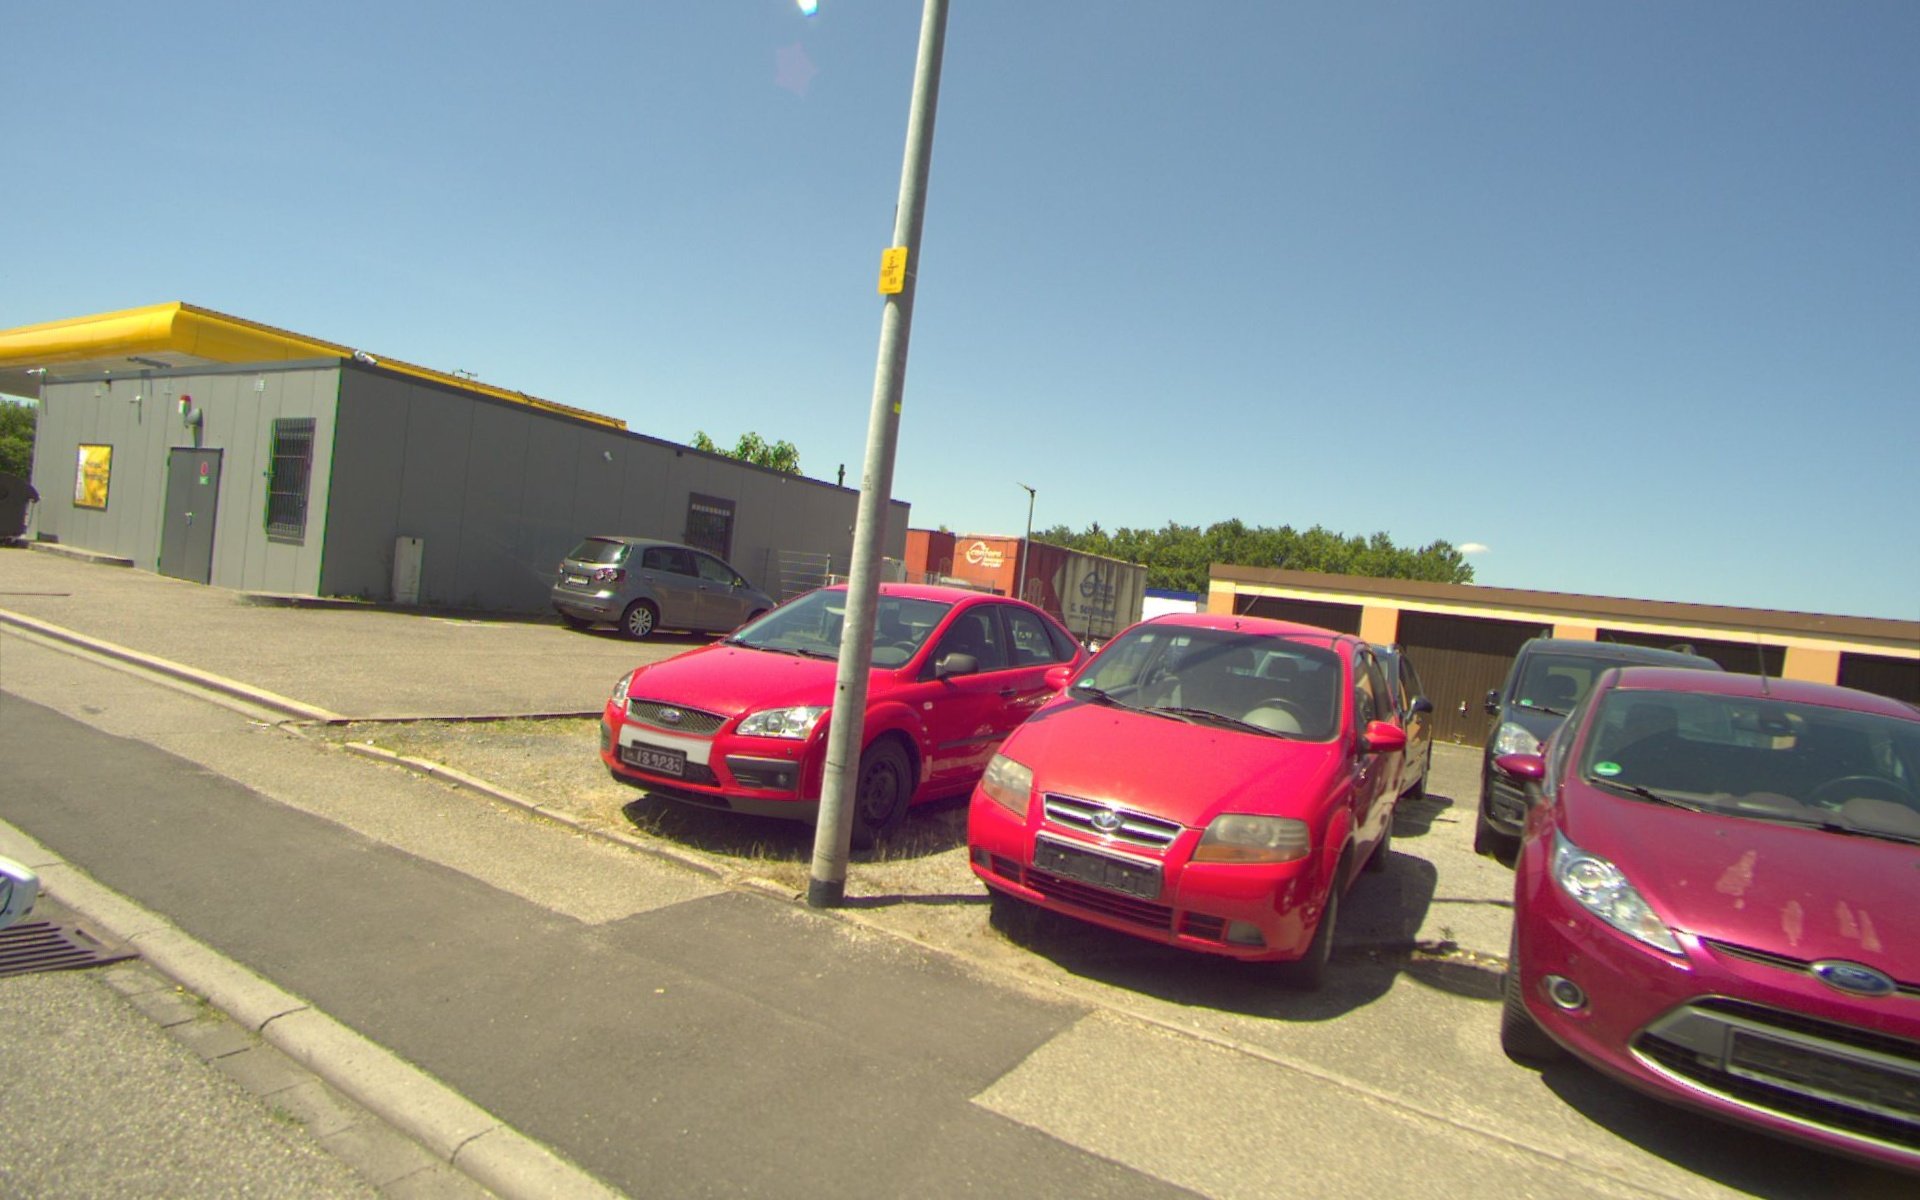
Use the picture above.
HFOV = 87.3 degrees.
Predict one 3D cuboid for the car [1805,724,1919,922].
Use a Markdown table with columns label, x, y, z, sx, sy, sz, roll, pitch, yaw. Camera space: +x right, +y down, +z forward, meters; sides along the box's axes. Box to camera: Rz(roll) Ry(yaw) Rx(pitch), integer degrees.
| label | x | y | z | sx | sy | sz | roll | pitch | yaw |
| --- | --- | --- | --- | --- | --- | --- | --- | --- | --- |
| car | 7.714 | 1.701 | 7.118 | 1.613 | 1.390 | 3.909 | 7 | -3 | 26 |

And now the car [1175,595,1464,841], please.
| label | x | y | z | sx | sy | sz | roll | pitch | yaw |
| --- | --- | --- | --- | --- | --- | --- | --- | --- | --- |
| car | 3.665 | 1.131 | 9.722 | 1.753 | 1.685 | 4.051 | 7 | -3 | 31 |

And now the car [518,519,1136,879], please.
| label | x | y | z | sx | sy | sz | roll | pitch | yaw |
| --- | --- | --- | --- | --- | --- | --- | --- | --- | --- |
| car | -0.518 | 0.536 | 6.954 | 1.925 | 1.554 | 4.229 | 7 | 1 | 30 |

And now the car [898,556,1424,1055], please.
| label | x | y | z | sx | sy | sz | roll | pitch | yaw |
| --- | --- | --- | --- | --- | --- | --- | --- | --- | --- |
| car | 1.413 | 0.785 | 5.481 | 1.679 | 1.586 | 3.690 | 7 | 1 | 28 |

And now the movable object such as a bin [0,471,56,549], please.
| label | x | y | z | sx | sy | sz | roll | pitch | yaw |
| --- | --- | --- | --- | --- | --- | --- | --- | --- | --- |
| movable object such as a bin | -19.244 | -1.852 | 20.044 | 1.443 | 1.456 | 1.435 | 7 | 2 | 32 |

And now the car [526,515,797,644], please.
| label | x | y | z | sx | sy | sz | roll | pitch | yaw |
| --- | --- | --- | --- | --- | --- | --- | --- | --- | --- |
| car | -4.934 | -0.278 | 17.123 | 1.916 | 1.677 | 3.990 | 6 | -1 | 34 |

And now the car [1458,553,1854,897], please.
| label | x | y | z | sx | sy | sz | roll | pitch | yaw |
| --- | --- | --- | --- | --- | --- | --- | --- | --- | --- |
| car | 5.408 | 0.984 | 8.404 | 1.938 | 1.916 | 4.355 | 7 | -3 | 28 |

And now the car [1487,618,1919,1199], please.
| label | x | y | z | sx | sy | sz | roll | pitch | yaw |
| --- | --- | --- | --- | --- | --- | --- | --- | --- | --- |
| car | 3.333 | 1.027 | 4.298 | 1.719 | 1.586 | 3.691 | 7 | 1 | 27 |
